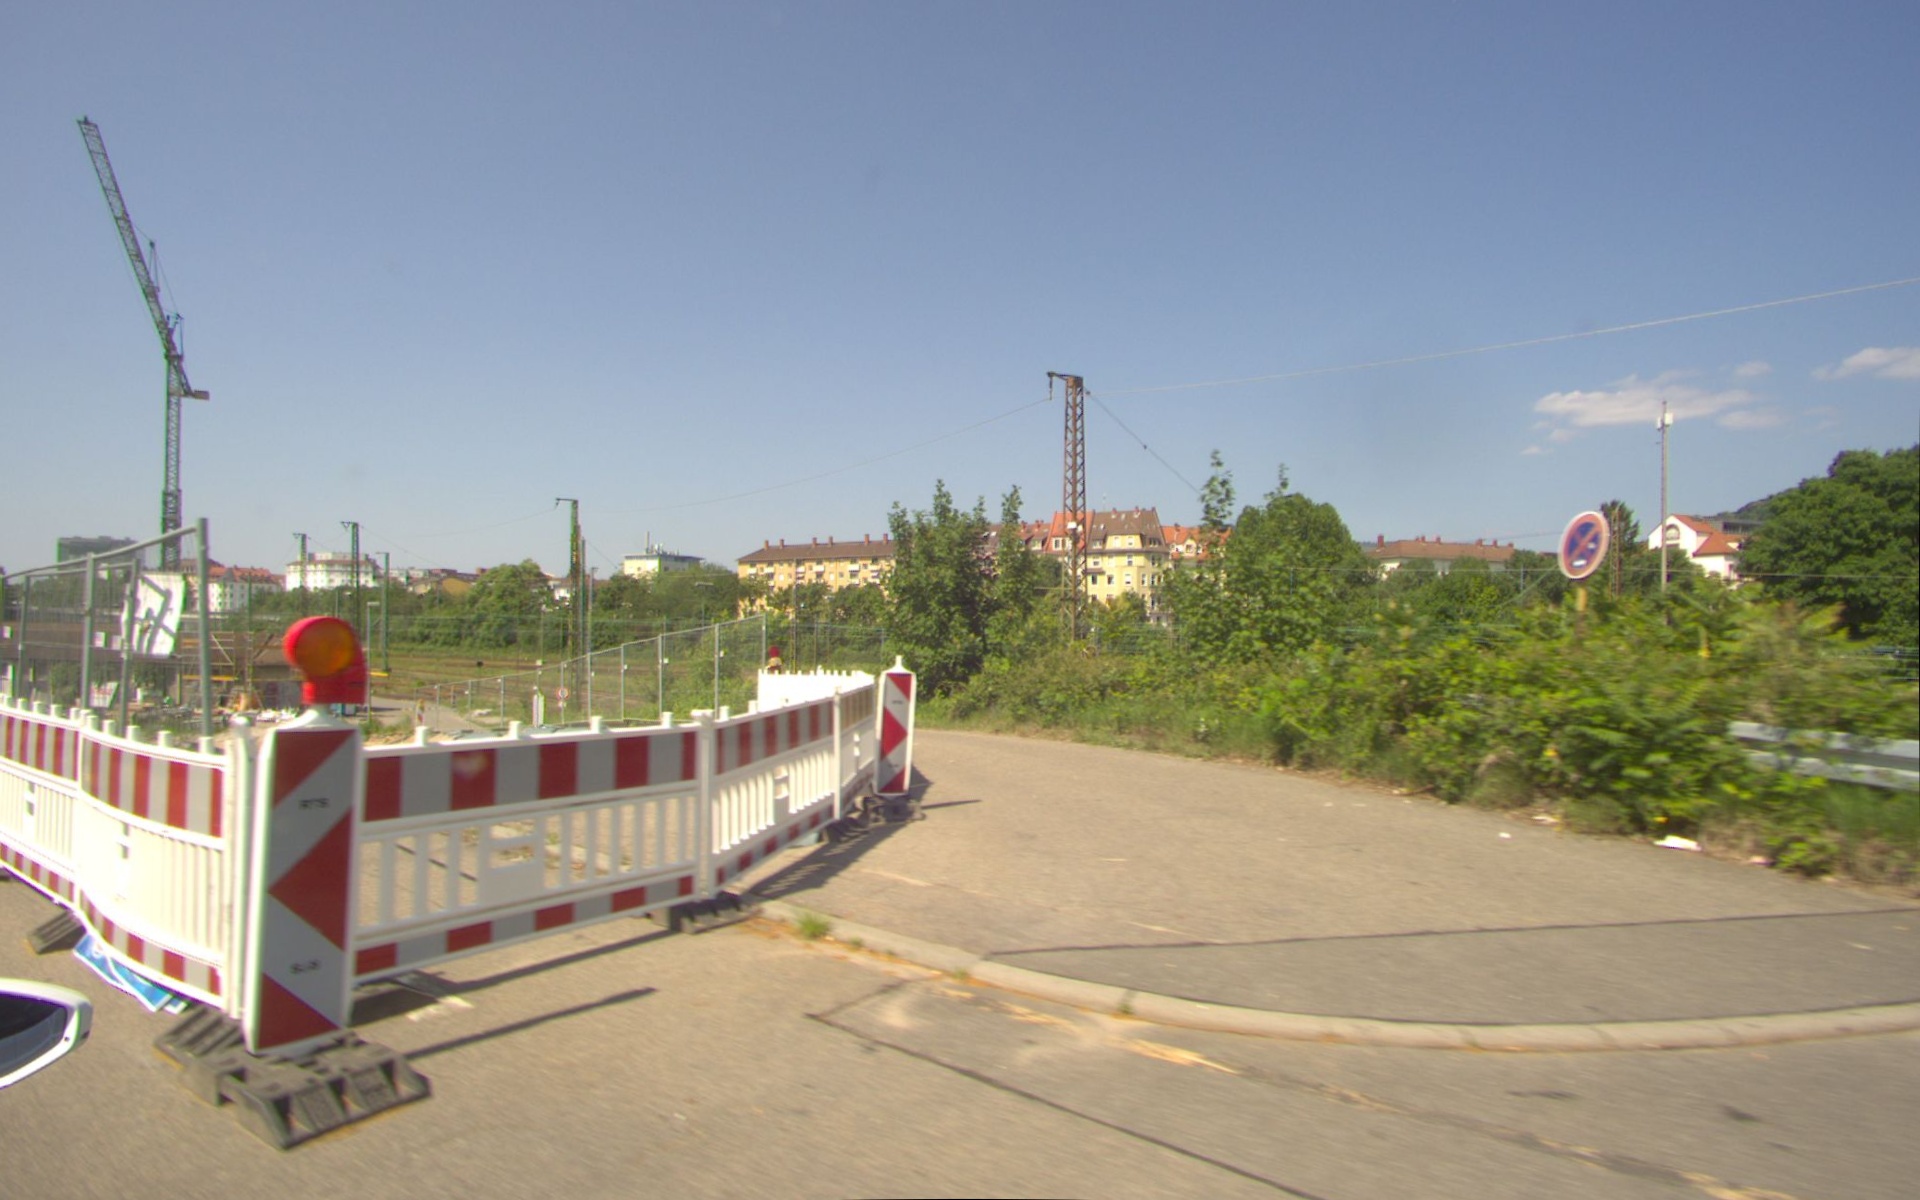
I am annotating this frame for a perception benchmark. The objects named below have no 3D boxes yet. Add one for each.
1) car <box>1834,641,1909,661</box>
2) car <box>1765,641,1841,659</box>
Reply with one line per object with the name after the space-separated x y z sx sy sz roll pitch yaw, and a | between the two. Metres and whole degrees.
68.183 3.784 74.960 1.753 1.384 3.834 1 -2 -20 | car
66.687 3.928 79.285 1.834 1.384 4.308 1 -2 -19 | car
